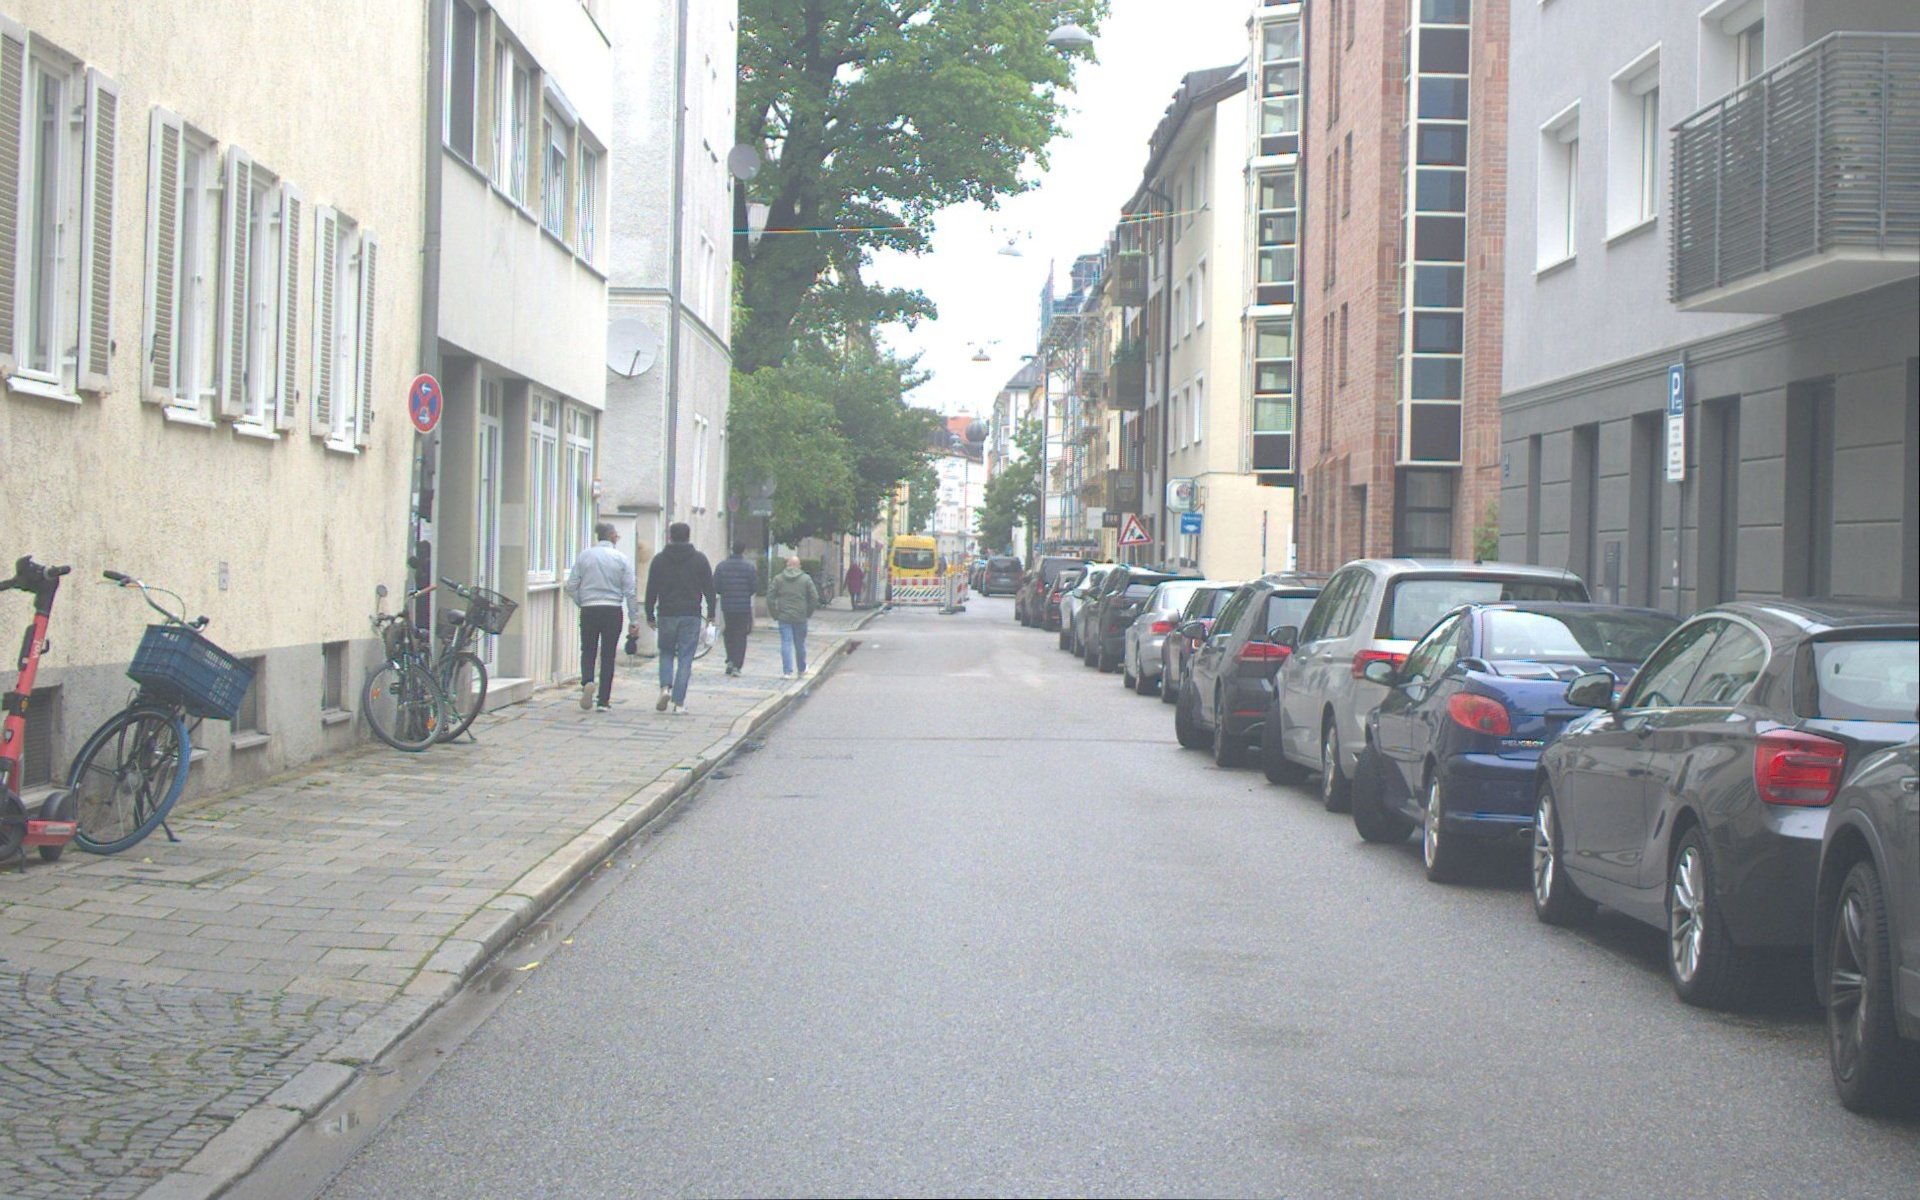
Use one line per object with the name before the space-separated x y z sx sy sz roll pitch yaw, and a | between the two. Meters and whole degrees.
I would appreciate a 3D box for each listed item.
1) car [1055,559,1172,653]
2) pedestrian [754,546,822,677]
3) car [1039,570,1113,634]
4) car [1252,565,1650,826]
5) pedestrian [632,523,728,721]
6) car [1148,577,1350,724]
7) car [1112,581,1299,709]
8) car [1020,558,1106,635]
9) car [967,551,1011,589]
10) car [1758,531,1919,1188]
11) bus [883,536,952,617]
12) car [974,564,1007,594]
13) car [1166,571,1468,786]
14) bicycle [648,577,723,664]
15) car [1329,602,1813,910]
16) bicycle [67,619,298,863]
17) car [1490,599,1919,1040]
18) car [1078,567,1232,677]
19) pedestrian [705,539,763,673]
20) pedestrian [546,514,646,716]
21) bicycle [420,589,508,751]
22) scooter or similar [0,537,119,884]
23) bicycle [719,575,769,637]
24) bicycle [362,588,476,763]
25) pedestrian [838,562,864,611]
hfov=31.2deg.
car | 2.771 0.087 62.848 1.748 1.624 4.197 1 1 -3
pedestrian | -2.252 0.147 45.158 0.753 1.653 0.906 3 0 0
car | 2.833 0.026 84.658 1.624 1.482 3.808 2 1 0
car | 3.131 0.558 22.781 1.875 1.565 4.316 0 0 -2
pedestrian | -2.575 0.201 31.652 0.718 1.759 0.838 3 0 0
car | 3.145 0.516 38.085 1.745 1.457 4.150 2 1 -1
car | 2.988 0.514 42.685 1.836 1.412 4.601 2 1 -1
car | 2.641 -0.112 89.018 1.801 1.814 4.000 5 1 -2
car | 1.395 -1.463 166.794 1.801 1.706 3.827 5 1 -2
car | 3.283 0.685 8.078 1.676 1.655 4.513 2 1 -1
bus | -1.642 -0.898 134.909 2.593 3.091 6.306 1 0 0
car | 1.737 -1.191 195.105 1.801 1.608 4.000 2 1 0
car | 2.778 0.568 27.667 1.839 1.523 4.293 2 1 -1
bicycle | -3.905 0.284 48.777 0.641 1.213 1.665 1 0 -19
car | 3.034 0.723 17.862 1.808 1.358 3.945 1 1 0
bicycle | -3.576 0.621 15.953 0.703 0.981 1.823 6 0 -5
car | 3.334 0.720 13.325 1.799 1.381 4.349 1 1 -1
car | 2.928 0.301 52.533 1.885 1.550 4.392 2 1 -2
pedestrian | -2.952 0.076 44.992 0.612 1.708 0.823 3 0 -1
pedestrian | -3.324 0.133 31.450 0.718 1.790 0.917 3 0 0
bicycle | -3.710 0.507 25.812 0.561 1.155 1.721 2 0 -6
scooter or similar | -3.790 0.436 14.220 0.317 1.371 1.239 1 0 0
bicycle | -3.992 0.102 63.388 0.473 1.107 1.761 2 1 -18
bicycle | -3.777 0.509 24.096 0.458 1.155 1.605 4 0 1
pedestrian | -3.292 -0.413 103.999 0.756 1.486 0.831 1 0 0
